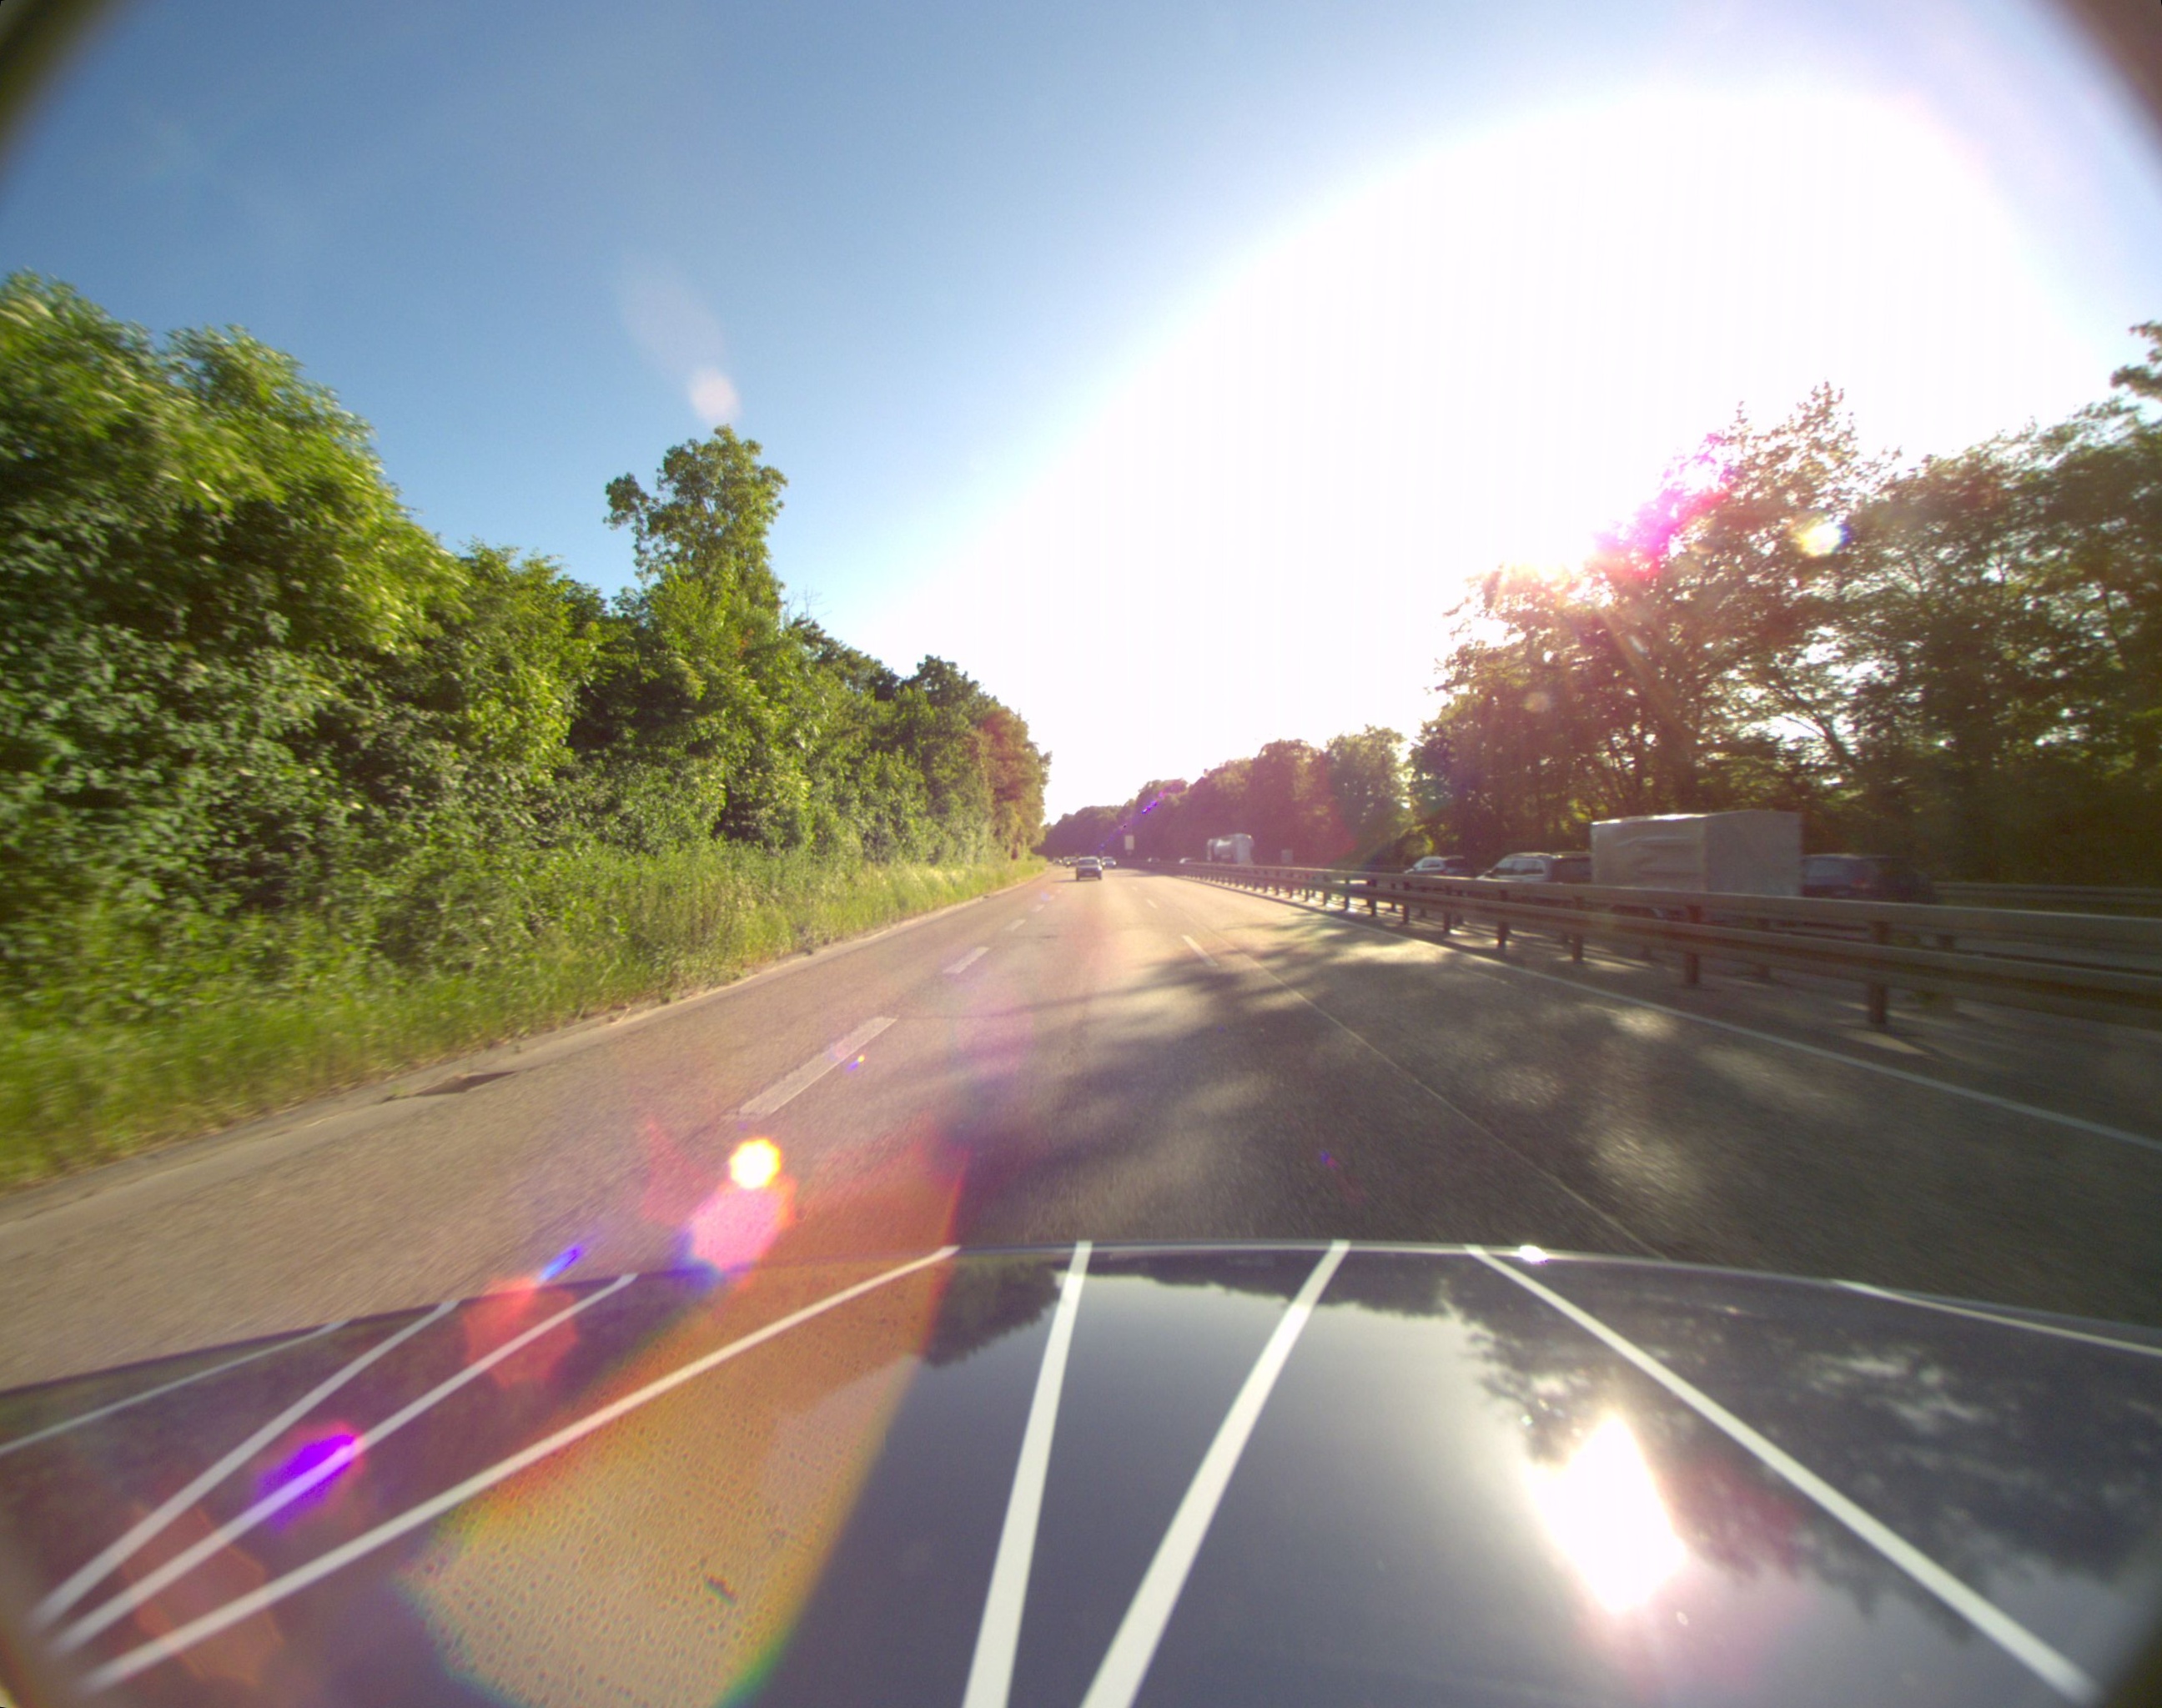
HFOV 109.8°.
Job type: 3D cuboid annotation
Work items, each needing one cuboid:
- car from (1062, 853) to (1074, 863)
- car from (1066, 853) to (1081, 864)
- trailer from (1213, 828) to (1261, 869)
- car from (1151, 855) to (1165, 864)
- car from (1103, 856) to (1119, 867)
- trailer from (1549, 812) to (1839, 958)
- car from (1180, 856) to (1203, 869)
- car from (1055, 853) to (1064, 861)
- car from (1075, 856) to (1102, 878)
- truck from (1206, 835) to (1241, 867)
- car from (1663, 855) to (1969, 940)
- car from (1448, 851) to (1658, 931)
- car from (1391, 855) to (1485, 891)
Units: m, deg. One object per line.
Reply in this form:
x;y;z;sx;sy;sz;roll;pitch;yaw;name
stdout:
-2.383;0.720;140.119;1.999;1.761;3.998;0;0;-5;car
-1.233;0.694;116.547;1.999;1.761;3.998;0;0;-5;car
16.449;-0.530;80.948;3.060;3.974;10.973;0;0;1;trailer
12.133;0.870;119.897;1.670;1.458;4.091;0;0;-1;car
3.882;0.982;99.248;1.904;1.453;4.355;0;0;-1;car
11.635;0.523;14.973;1.998;2.423;4.606;0;0;0;trailer
12.193;0.930;83.917;1.803;1.458;4.696;0;0;-1;car
-5.126;0.736;181.892;1.999;1.761;3.998;0;0;-5;car
0.578;0.887;52.638;1.800;1.453;4.356;0;0;2;car
16.518;-0.359;88.385;2.988;3.609;6.155;0;0;0;truck
16.124;0.841;17.195;2.076;1.604;5.059;-1;0;1;car
11.617;0.817;19.286;2.076;1.738;5.224;0;0;0;car
16.300;0.828;35.031;2.076;1.458;4.986;-1;0;1;car
